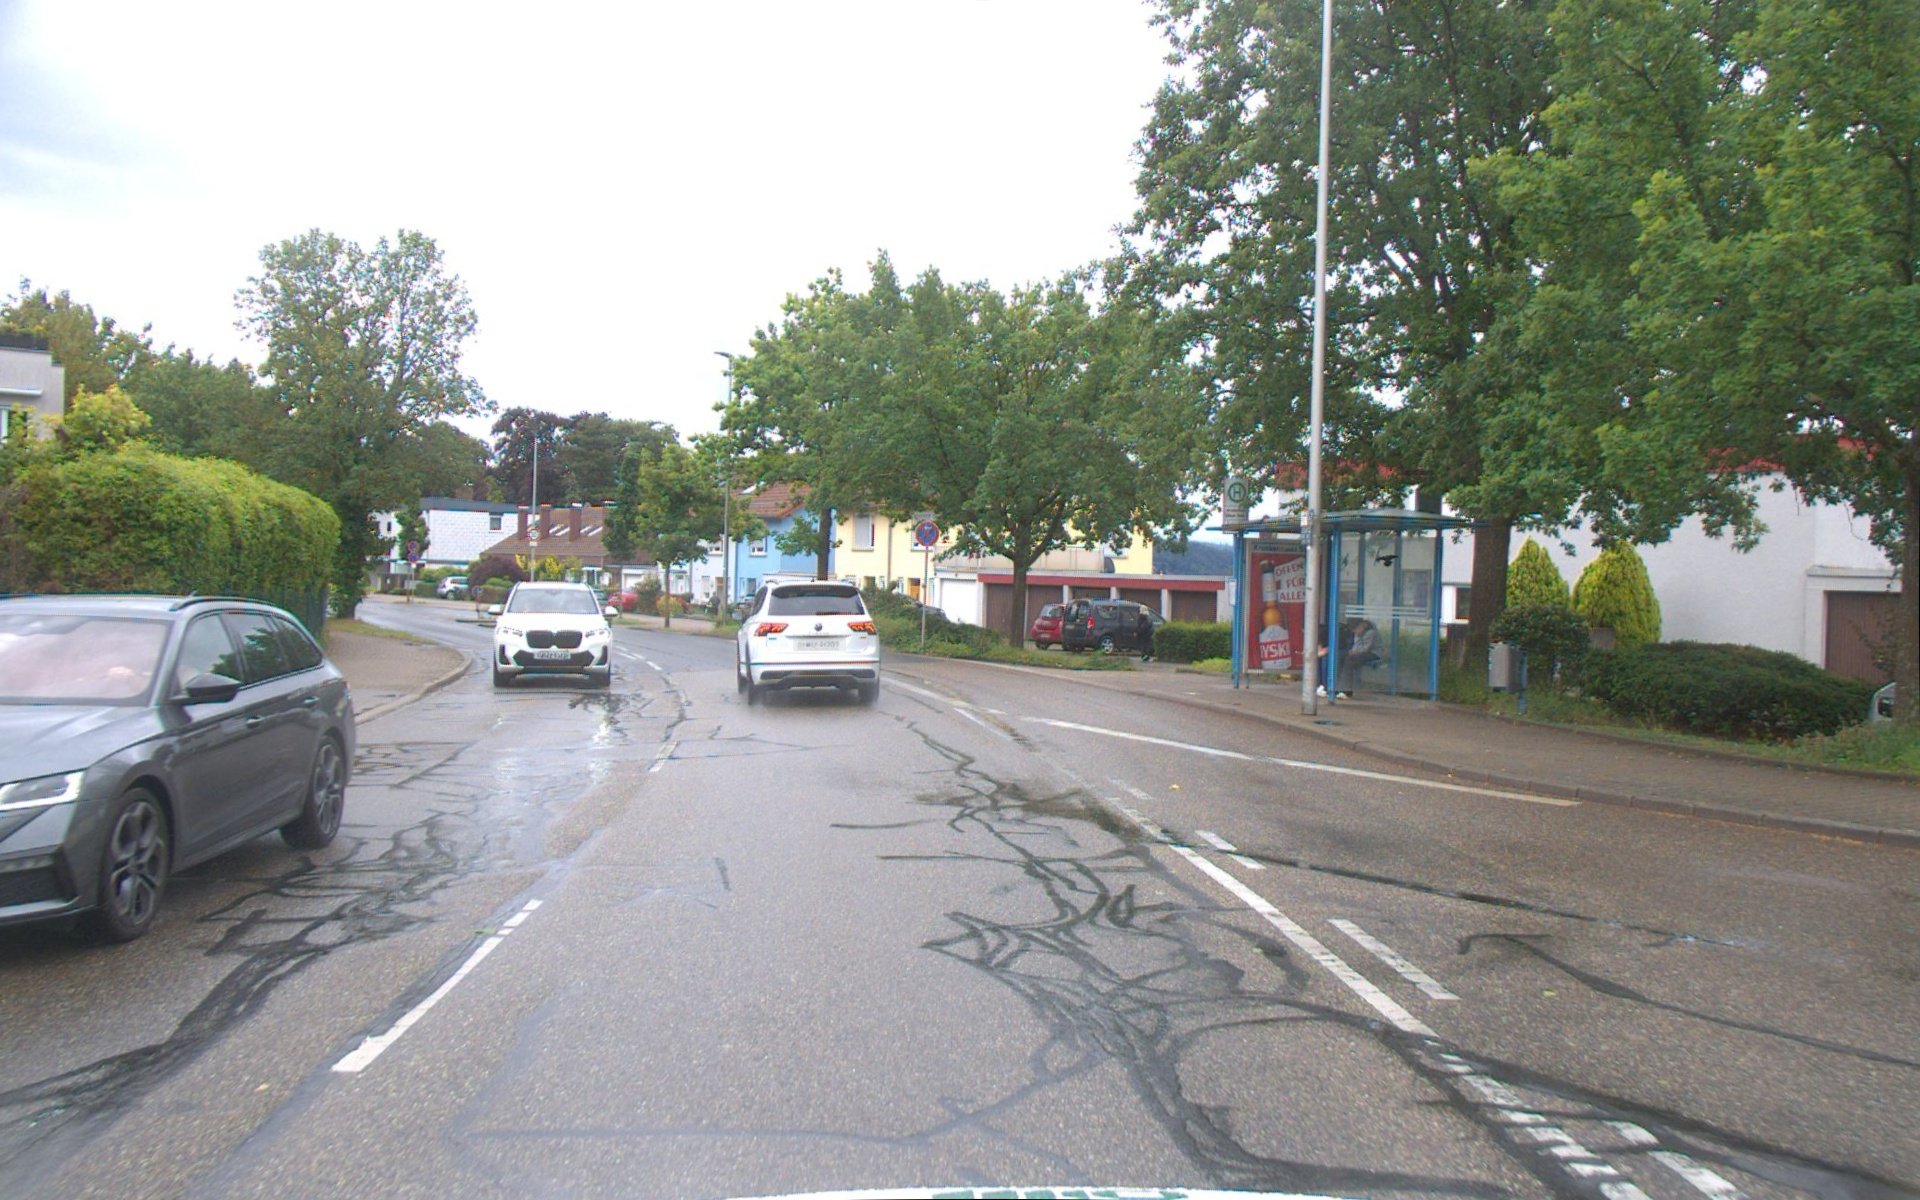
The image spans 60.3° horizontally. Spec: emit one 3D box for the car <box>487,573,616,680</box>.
[{"bbox_3d":[-6.801,0.391,27.949,1.857,1.639,4.852,1,1,-11],"label":"car"}]

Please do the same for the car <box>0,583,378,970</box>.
[{"bbox_3d":[-4.386,0.650,8.276,1.706,1.439,4.139,1,0,-4],"label":"car"}]

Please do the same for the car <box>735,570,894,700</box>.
[{"bbox_3d":[-2.147,0.438,23.487,1.832,1.679,3.989,0,1,-11],"label":"car"}]

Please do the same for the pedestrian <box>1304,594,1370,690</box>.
[{"bbox_3d":[5.127,0.566,22.500,0.713,1.272,0.550,1,0,-8],"label":"pedestrian"}]

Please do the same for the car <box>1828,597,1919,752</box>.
[{"bbox_3d":[11.175,0.774,17.090,3.579,1.512,1.756,1,0,-10],"label":"car"}]

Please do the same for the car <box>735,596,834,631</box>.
[{"bbox_3d":[-7.469,0.556,70.484,3.958,1.411,1.652,0,1,-37],"label":"car"}]

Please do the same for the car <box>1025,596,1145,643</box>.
[{"bbox_3d":[4.064,0.629,53.429,3.662,1.467,1.686,1,0,-36],"label":"car"}]

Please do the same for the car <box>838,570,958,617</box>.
[{"bbox_3d":[-2.333,-0.232,62.683,4.141,1.701,1.969,1,0,-34],"label":"car"}]

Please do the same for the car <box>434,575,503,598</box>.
[{"bbox_3d":[-32.169,-0.890,108.278,3.955,1.467,1.824,1,1,-36],"label":"car"}]

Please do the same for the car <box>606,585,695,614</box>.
[{"bbox_3d":[-15.767,-0.007,84.379,4.284,1.282,1.652,3,0,-44],"label":"car"}]

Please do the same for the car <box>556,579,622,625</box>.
[{"bbox_3d":[-13.506,0.037,60.109,1.744,1.578,3.975,1,0,-21],"label":"car"}]

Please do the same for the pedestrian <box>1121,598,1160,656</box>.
[{"bbox_3d":[5.070,0.757,46.517,0.660,1.585,0.830,1,0,-39],"label":"pedestrian"}]

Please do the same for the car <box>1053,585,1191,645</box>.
[{"bbox_3d":[4.990,0.452,50.831,3.955,1.751,1.900,1,0,-36],"label":"car"}]

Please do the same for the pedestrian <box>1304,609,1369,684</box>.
[{"bbox_3d":[5.289,0.648,23.245,0.735,1.029,0.550,1,0,-8],"label":"pedestrian"}]
